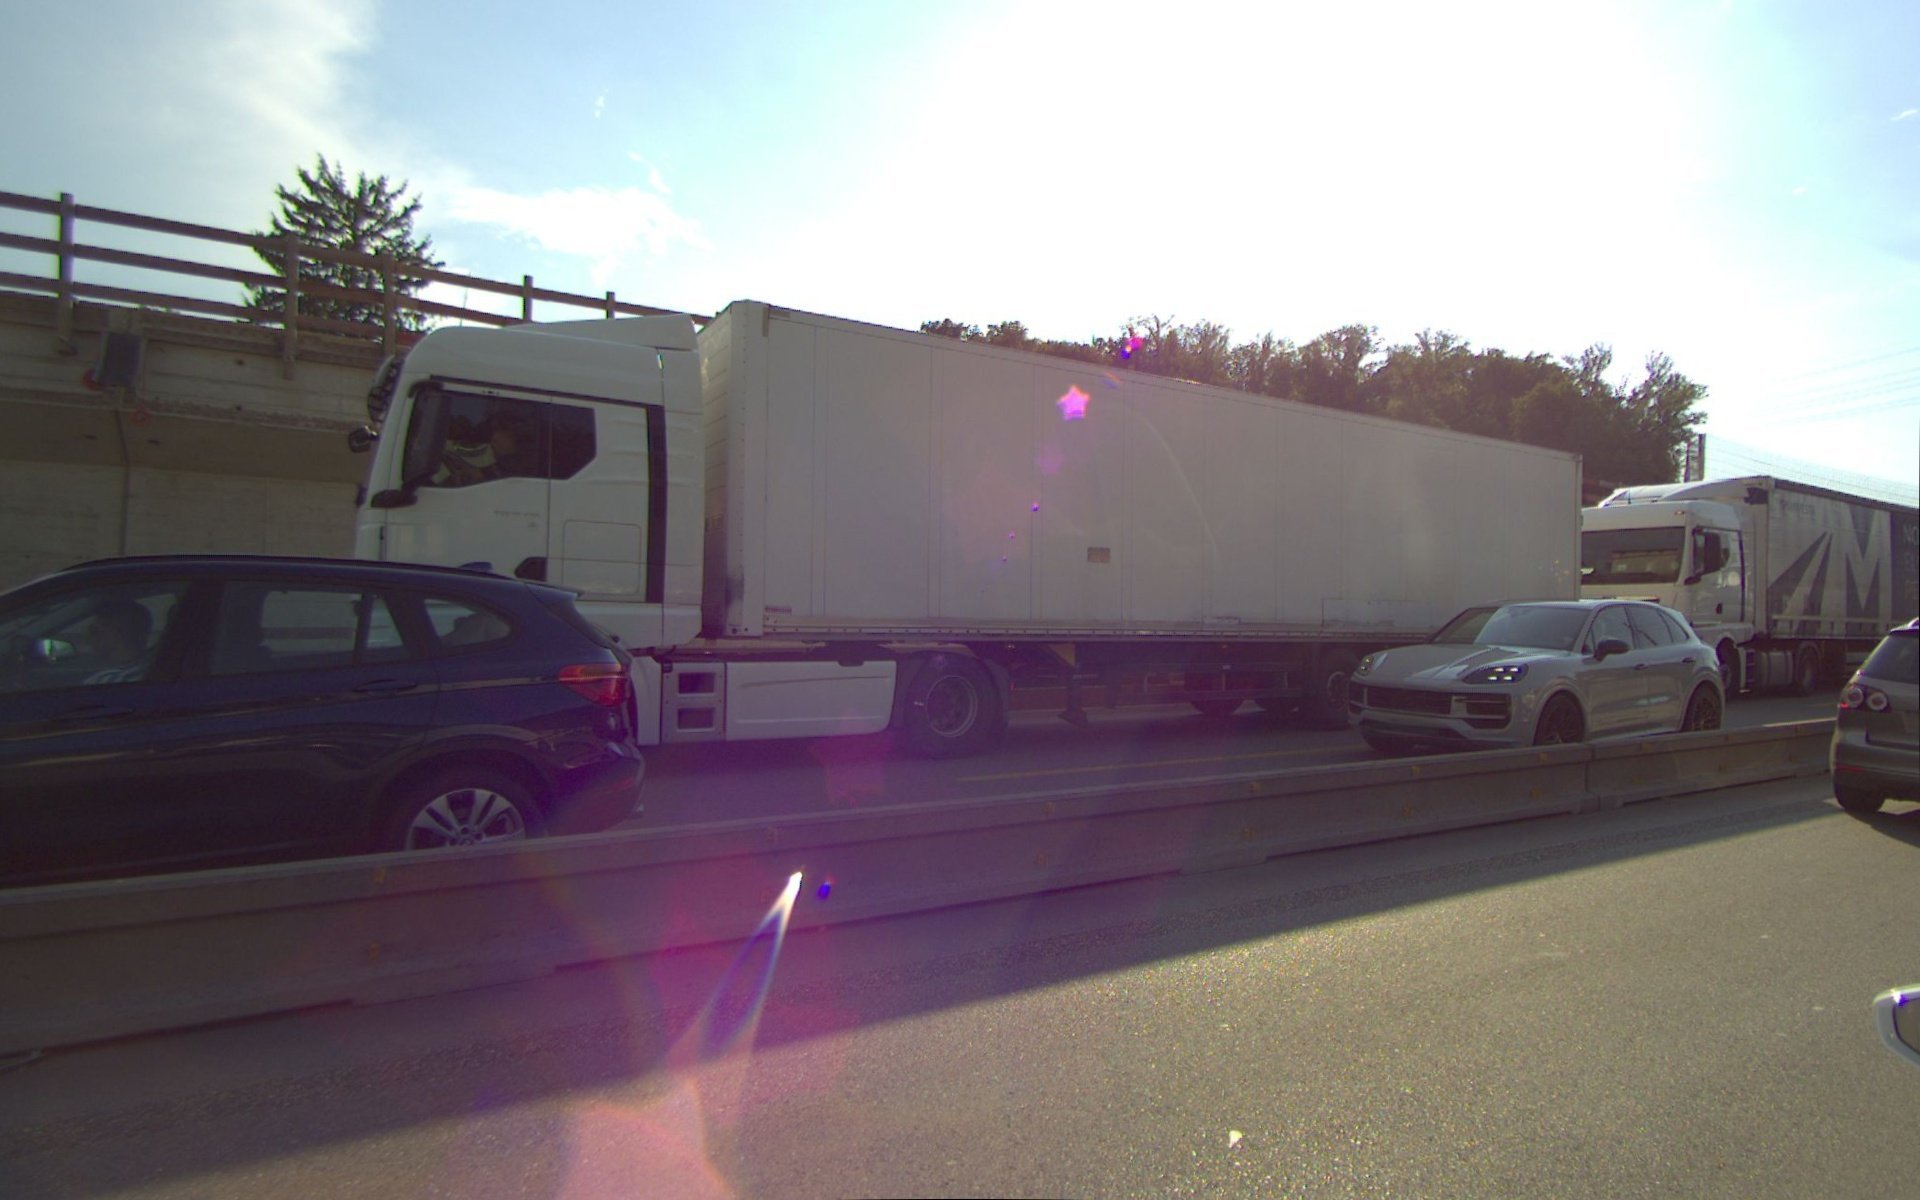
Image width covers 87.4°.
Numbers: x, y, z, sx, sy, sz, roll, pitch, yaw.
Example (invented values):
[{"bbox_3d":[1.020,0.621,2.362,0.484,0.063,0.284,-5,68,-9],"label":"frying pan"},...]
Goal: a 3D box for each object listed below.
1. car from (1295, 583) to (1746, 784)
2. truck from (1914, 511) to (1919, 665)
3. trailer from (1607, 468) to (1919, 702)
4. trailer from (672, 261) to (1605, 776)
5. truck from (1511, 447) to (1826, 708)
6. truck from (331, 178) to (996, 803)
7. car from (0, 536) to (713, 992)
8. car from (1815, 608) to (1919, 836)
[{"bbox_3d":[6.099,0.780,10.772,4.918,1.677,1.997,2,2,-31],"label":"car"},{"bbox_3d":[31.274,-0.285,29.969,4.973,4.574,2.903,1,0,-33],"label":"truck"},{"bbox_3d":[19.829,-0.106,23.069,13.678,4.259,2.761,2,-1,-32],"label":"trailer"},{"bbox_3d":[3.444,-0.524,13.069,13.615,4.377,2.444,2,-1,-31],"label":"trailer"},{"bbox_3d":[13.582,-0.294,19.166,6.046,4.259,2.750,2,0,-32],"label":"truck"},{"bbox_3d":[-2.619,-0.703,9.467,5.410,4.373,2.443,2,0,-30],"label":"truck"},{"bbox_3d":[-3.706,0.562,4.515,4.678,1.628,1.870,2,2,-31],"label":"car"},{"bbox_3d":[8.683,0.920,8.004,4.101,1.608,1.691,2,-1,-32],"label":"car"}]
